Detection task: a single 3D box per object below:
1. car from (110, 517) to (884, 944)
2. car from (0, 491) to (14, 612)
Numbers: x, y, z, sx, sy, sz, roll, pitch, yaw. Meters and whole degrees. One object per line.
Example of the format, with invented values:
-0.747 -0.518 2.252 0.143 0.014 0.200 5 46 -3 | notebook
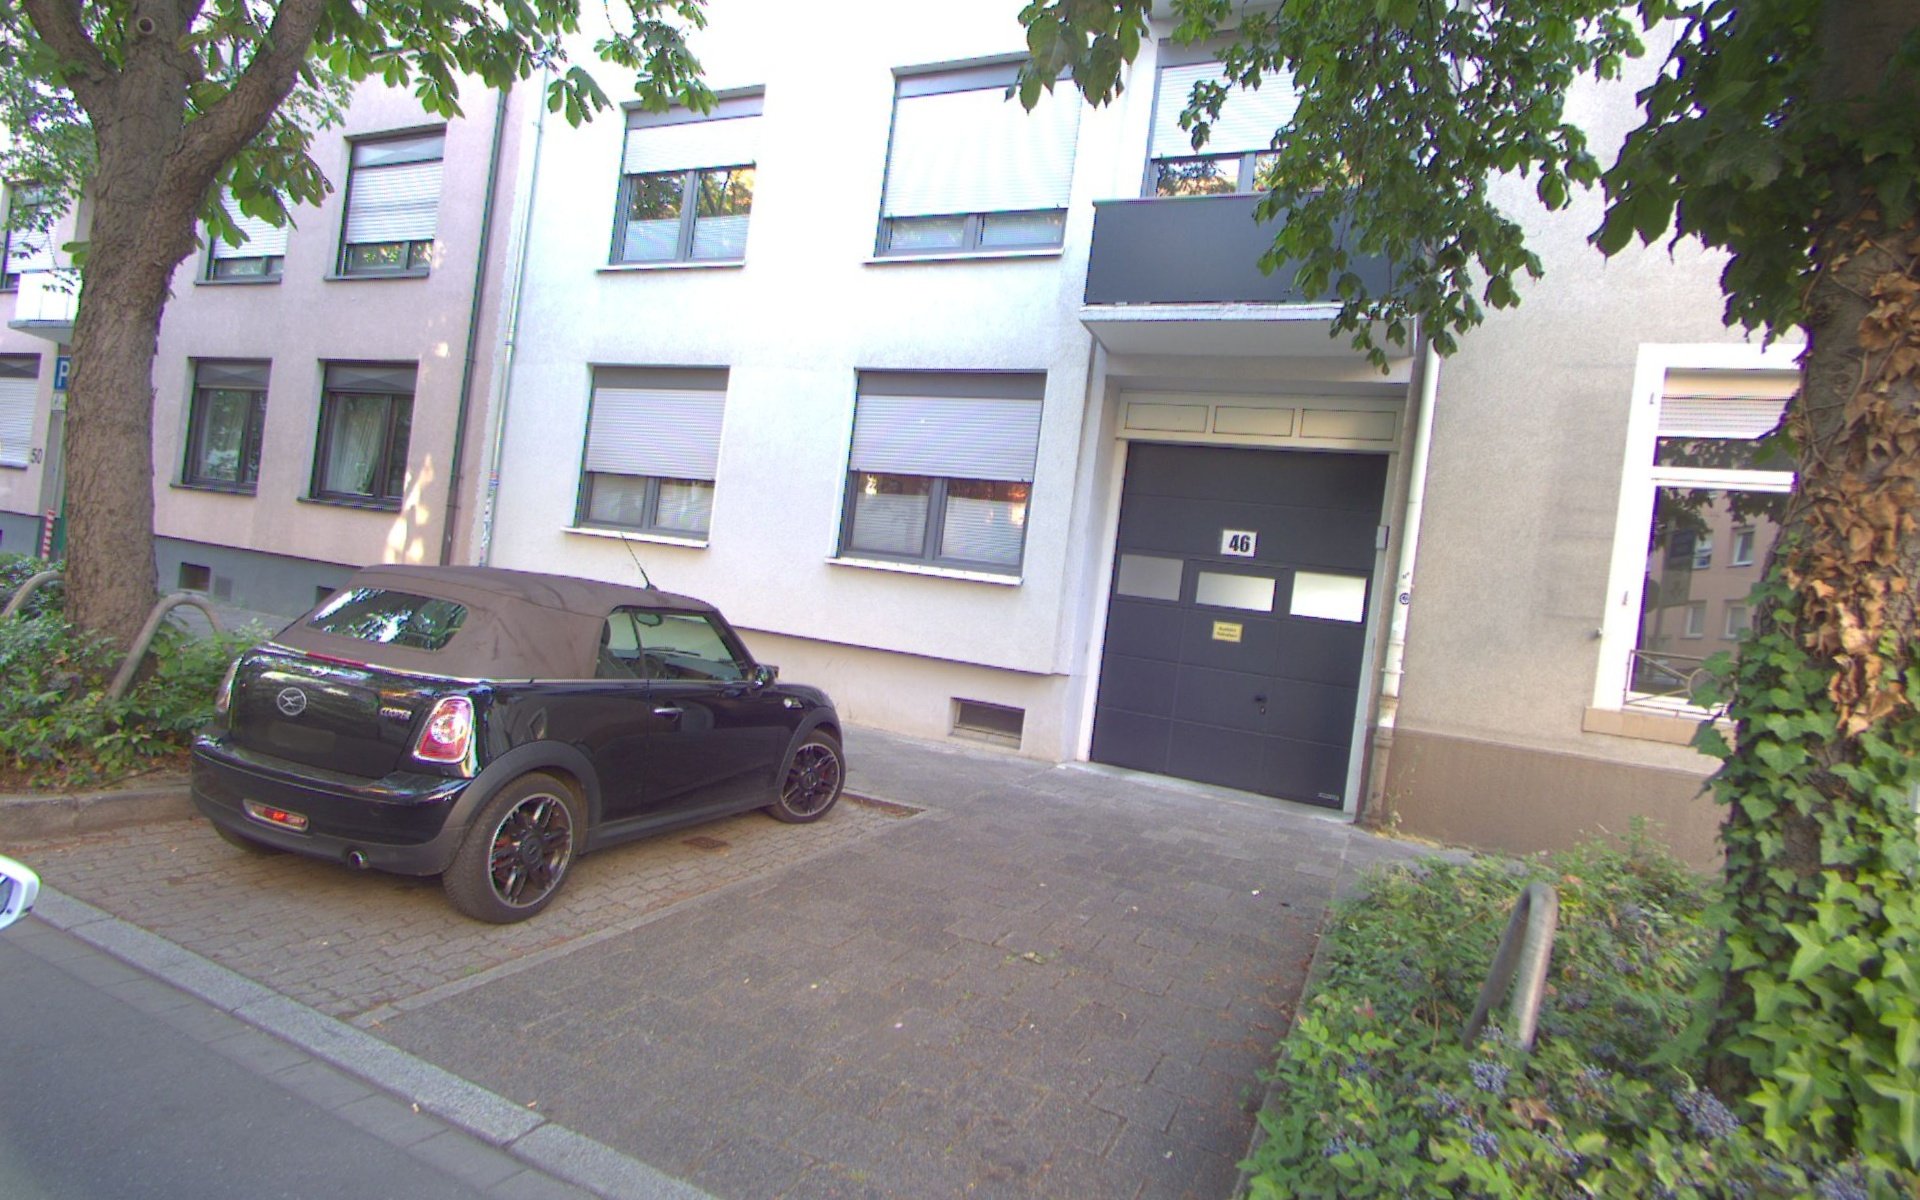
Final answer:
-2.020 0.546 5.529 1.634 1.380 3.622 7 -1 22 | car
-13.351 -0.808 11.040 1.634 1.494 3.921 7 -1 24 | car
